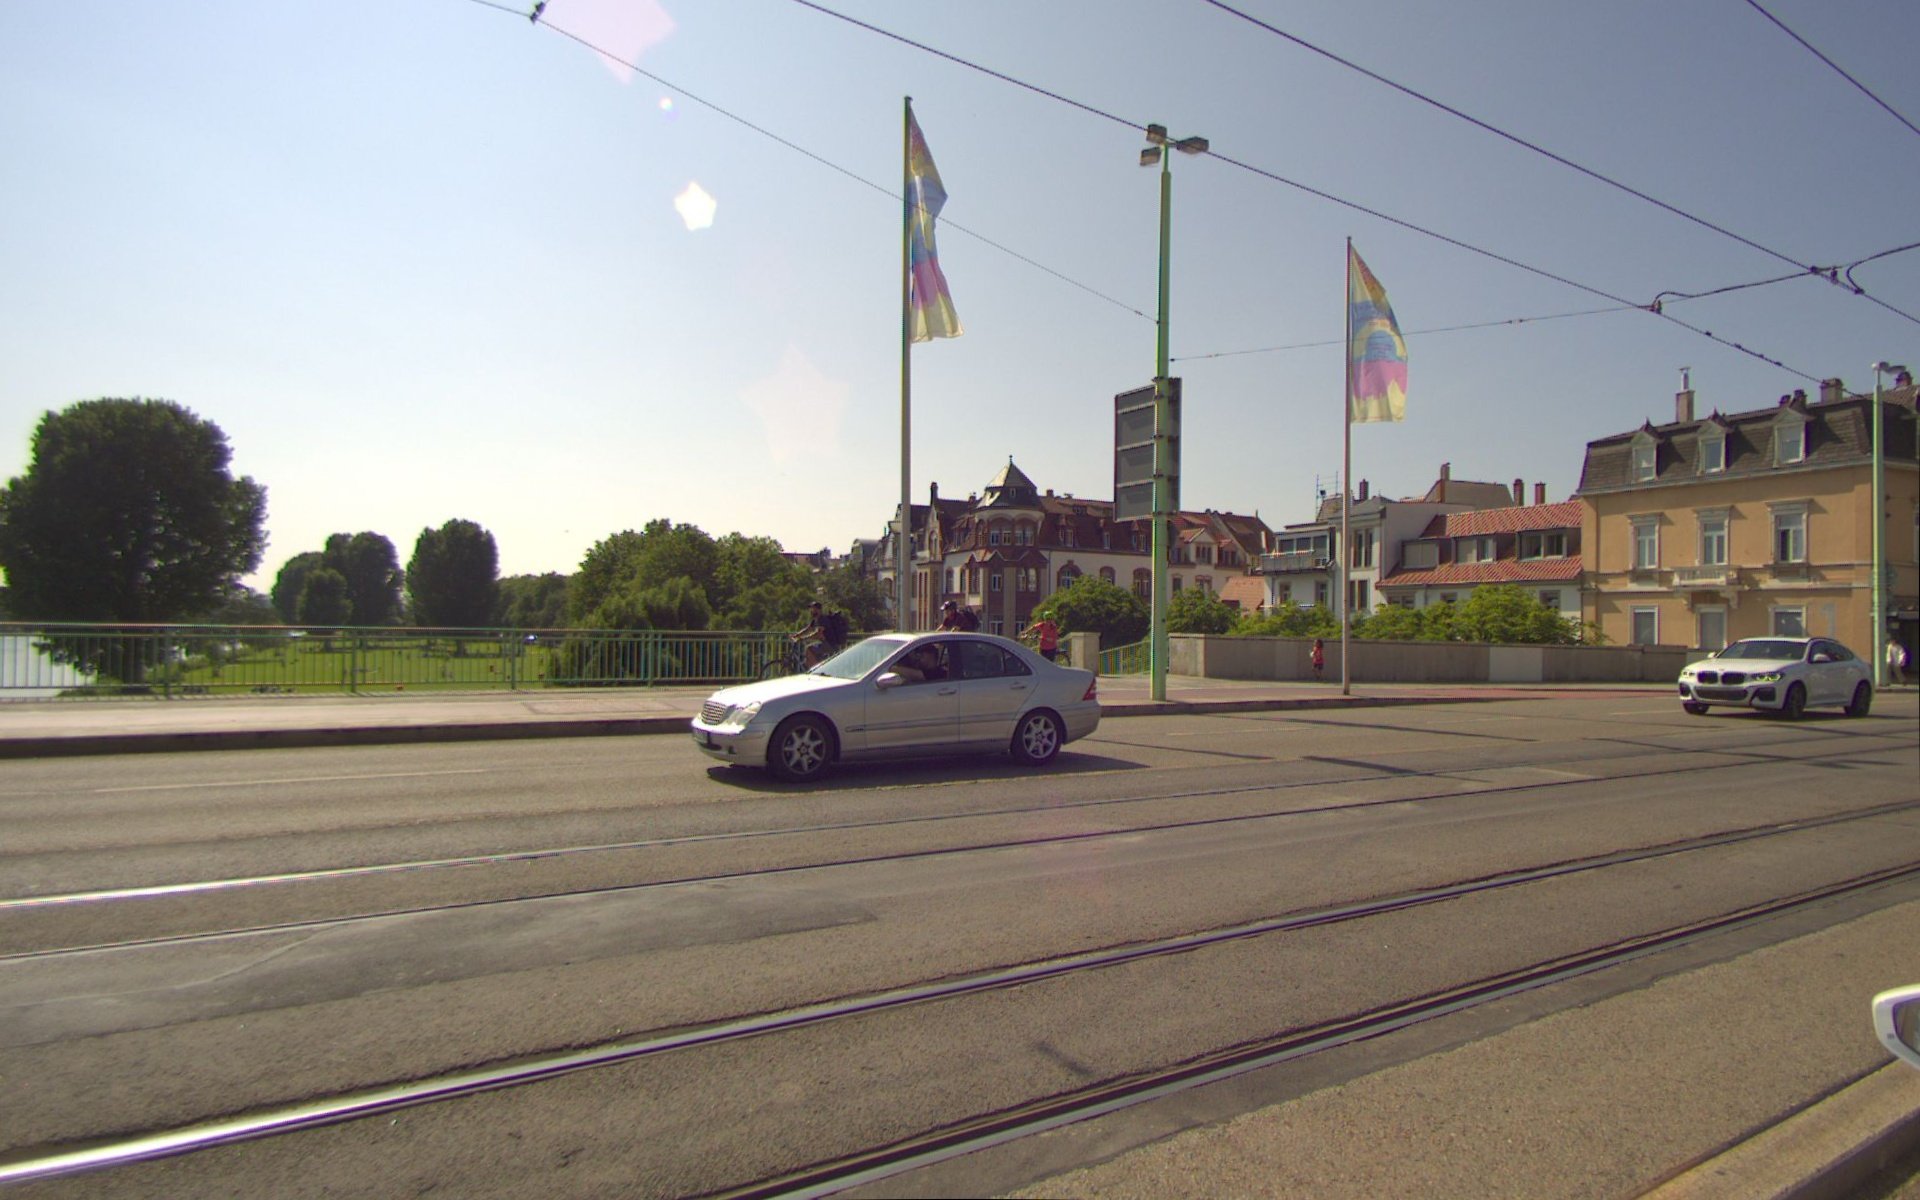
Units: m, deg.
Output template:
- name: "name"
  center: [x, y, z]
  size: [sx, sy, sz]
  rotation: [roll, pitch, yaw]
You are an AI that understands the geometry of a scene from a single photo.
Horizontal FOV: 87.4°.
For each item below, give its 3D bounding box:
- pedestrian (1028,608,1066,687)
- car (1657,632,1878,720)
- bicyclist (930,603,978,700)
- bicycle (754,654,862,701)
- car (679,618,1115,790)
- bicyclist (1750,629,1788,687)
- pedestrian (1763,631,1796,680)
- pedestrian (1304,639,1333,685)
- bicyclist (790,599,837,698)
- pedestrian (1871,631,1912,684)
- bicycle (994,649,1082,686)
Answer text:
- name: "pedestrian"
  center: [1.849, 1.005, 21.341]
  size: [0.620, 1.654, 0.410]
  rotation: [1, 1, -32]
- name: "car"
  center: [16.787, 1.531, 20.845]
  size: [4.595, 1.607, 1.985]
  rotation: [2, -2, -29]
- name: "bicyclist"
  center: [-0.105, 0.903, 17.964]
  size: [0.614, 1.672, 0.624]
  rotation: [1, 1, -29]
- name: "bicycle"
  center: [-2.625, 1.324, 17.397]
  size: [1.750, 0.726, 0.617]
  rotation: [1, 1, -30]
- name: "car"
  center: [-0.582, 0.983, 10.672]
  size: [4.323, 1.480, 1.722]
  rotation: [2, -1, -31]
- name: "bicyclist"
  center: [24.097, 1.725, 29.925]
  size: [0.612, 1.672, 0.626]
  rotation: [1, 1, -21]
- name: "pedestrian"
  center: [28.765, 1.929, 35.263]
  size: [0.559, 1.624, 0.646]
  rotation: [-1, 4, -29]
- name: "pedestrian"
  center: [9.408, 1.615, 26.369]
  size: [0.536, 1.161, 0.411]
  rotation: [2, 2, -20]
- name: "bicyclist"
  center: [-2.548, 0.829, 17.428]
  size: [0.614, 1.672, 0.624]
  rotation: [1, 1, -29]
- name: "pedestrian"
  center: [32.894, 2.029, 35.473]
  size: [0.778, 1.790, 0.733]
  rotation: [2, 3, -29]
- name: "bicycle"
  center: [1.703, 1.463, 21.885]
  size: [1.912, 0.726, 0.617]
  rotation: [1, 1, -32]
